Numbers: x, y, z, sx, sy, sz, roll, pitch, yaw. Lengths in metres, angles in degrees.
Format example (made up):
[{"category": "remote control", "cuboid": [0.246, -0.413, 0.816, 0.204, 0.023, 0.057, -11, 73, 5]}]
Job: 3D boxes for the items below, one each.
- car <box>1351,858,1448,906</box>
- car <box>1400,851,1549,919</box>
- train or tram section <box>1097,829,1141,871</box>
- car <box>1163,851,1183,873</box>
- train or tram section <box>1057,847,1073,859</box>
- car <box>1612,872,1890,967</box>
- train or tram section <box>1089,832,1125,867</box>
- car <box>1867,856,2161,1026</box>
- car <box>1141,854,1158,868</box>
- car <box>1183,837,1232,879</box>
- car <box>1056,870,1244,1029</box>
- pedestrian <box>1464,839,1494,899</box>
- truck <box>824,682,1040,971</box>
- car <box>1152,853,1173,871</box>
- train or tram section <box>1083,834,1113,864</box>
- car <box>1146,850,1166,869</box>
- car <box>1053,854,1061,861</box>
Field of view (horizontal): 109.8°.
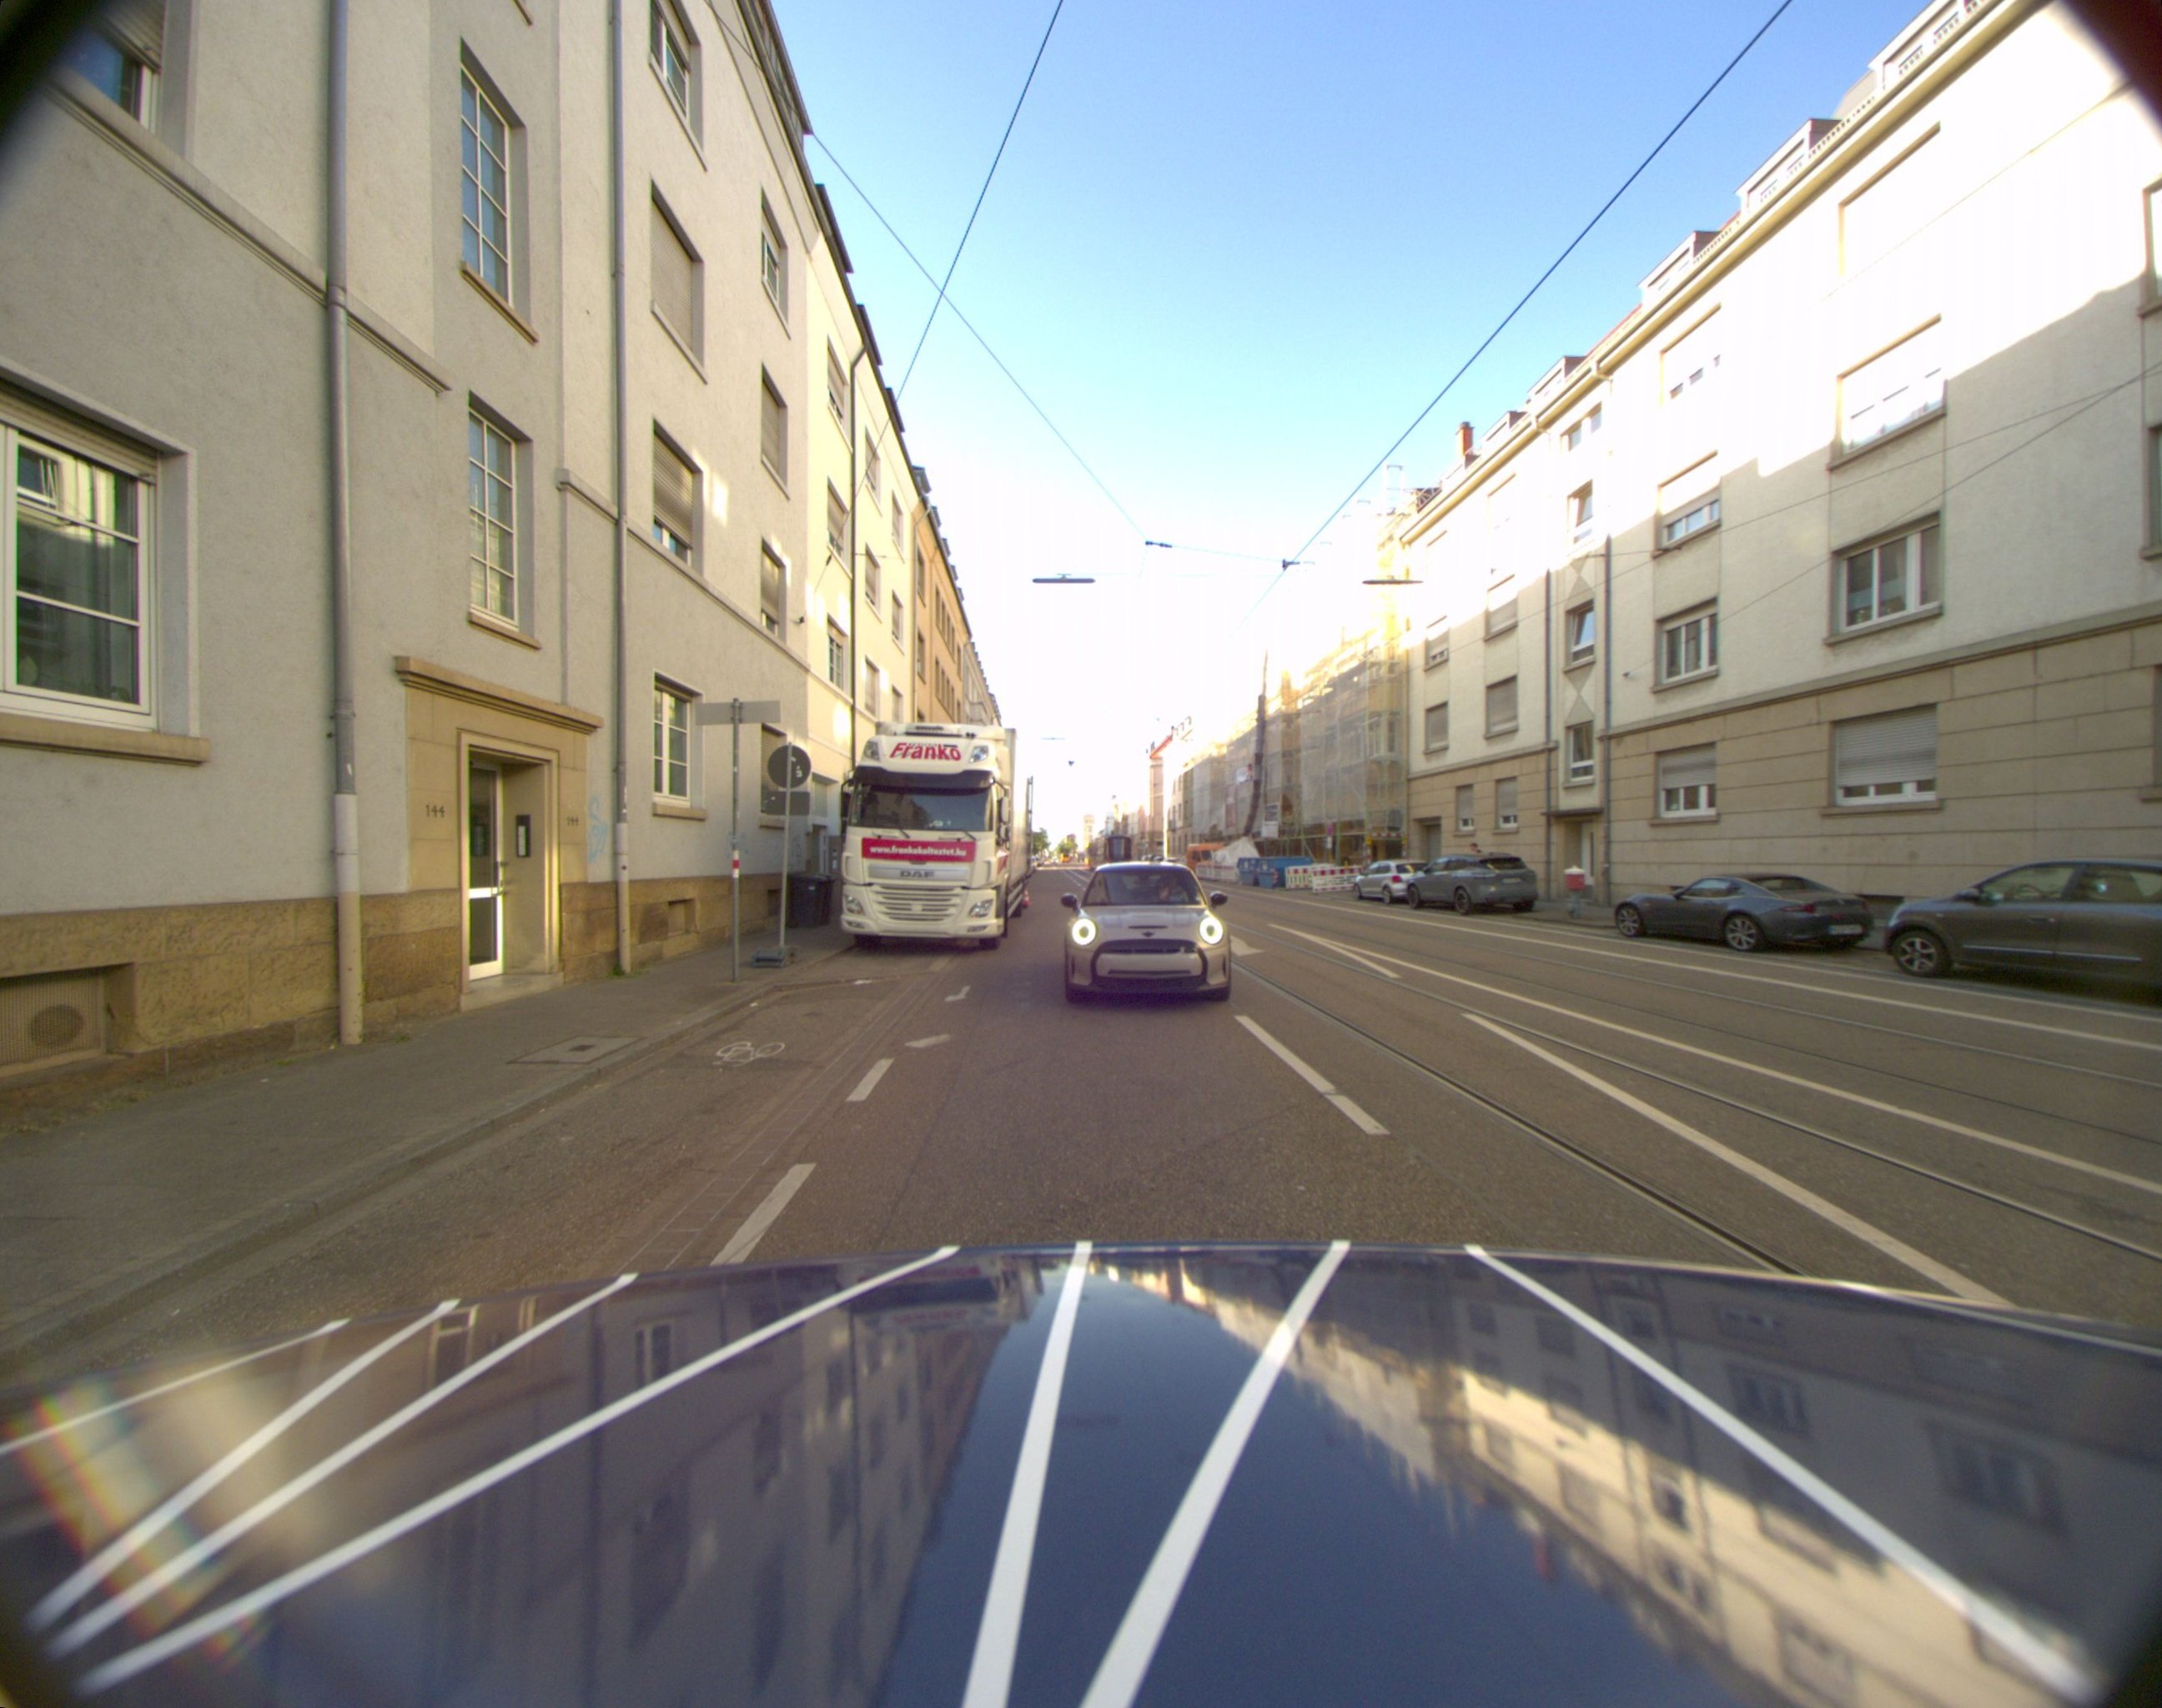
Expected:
[{"category": "car", "cuboid": [10.639, 0.885, 25.611, 1.565, 1.372, 3.506, -3, 1, -4]}, {"category": "car", "cuboid": [10.833, 0.772, 21.282, 1.752, 1.600, 4.157, -3, 1, -4]}, {"category": "train or tram section", "cuboid": [3.341, -0.405, 71.350, 2.867, 3.542, 13.038, 0, 1, -3]}, {"category": "car", "cuboid": [8.606, 0.692, 71.079, 1.658, 1.911, 3.766, -2, 1, 5]}, {"category": "train or tram section", "cuboid": [-5.336, -0.454, 254.726, 3.881, 3.616, 14.401, -2, 1, -7]}, {"category": "car", "cuboid": [11.127, 1.002, 12.963, 1.476, 1.212, 3.522, -3, 1, -4]}, {"category": "train or tram section", "cuboid": [2.718, -0.529, 84.509, 2.867, 3.542, 13.330, 0, 1, -3]}, {"category": "car", "cuboid": [11.364, 0.861, 8.347, 1.644, 1.549, 3.594, -3, 1, -2]}, {"category": "car", "cuboid": [7.909, 0.816, 88.311, 1.532, 1.518, 3.599, -2, 1, -1]}, {"category": "car", "cuboid": [8.809, 0.247, 53.356, 2.215, 2.681, 5.871, -2, 1, -2]}, {"category": "car", "cuboid": [0.632, 0.919, 8.931, 1.727, 1.416, 3.817, 0, -1, 0]}, {"category": "pedestrian", "cuboid": [12.695, 0.462, 24.247, 0.519, 1.861, 0.762, -2, 1, -2]}, {"category": "truck", "cuboid": [-2.492, -0.504, 17.009, 2.700, 4.214, 11.773, 0, 1, -1]}, {"category": "car", "cuboid": [8.249, 0.766, 76.986, 1.570, 1.674, 3.935, -2, 1, -1]}, {"category": "train or tram section", "cuboid": [2.092, -0.656, 97.833, 2.867, 3.542, 13.330, 0, 1, -3]}, {"category": "car", "cuboid": [8.191, 0.591, 83.354, 1.570, 1.945, 4.183, -2, 1, -1]}, {"category": "car", "cuboid": [-6.925, 0.863, 216.867, 1.999, 1.871, 4.269, -2, 1, -4]}]
